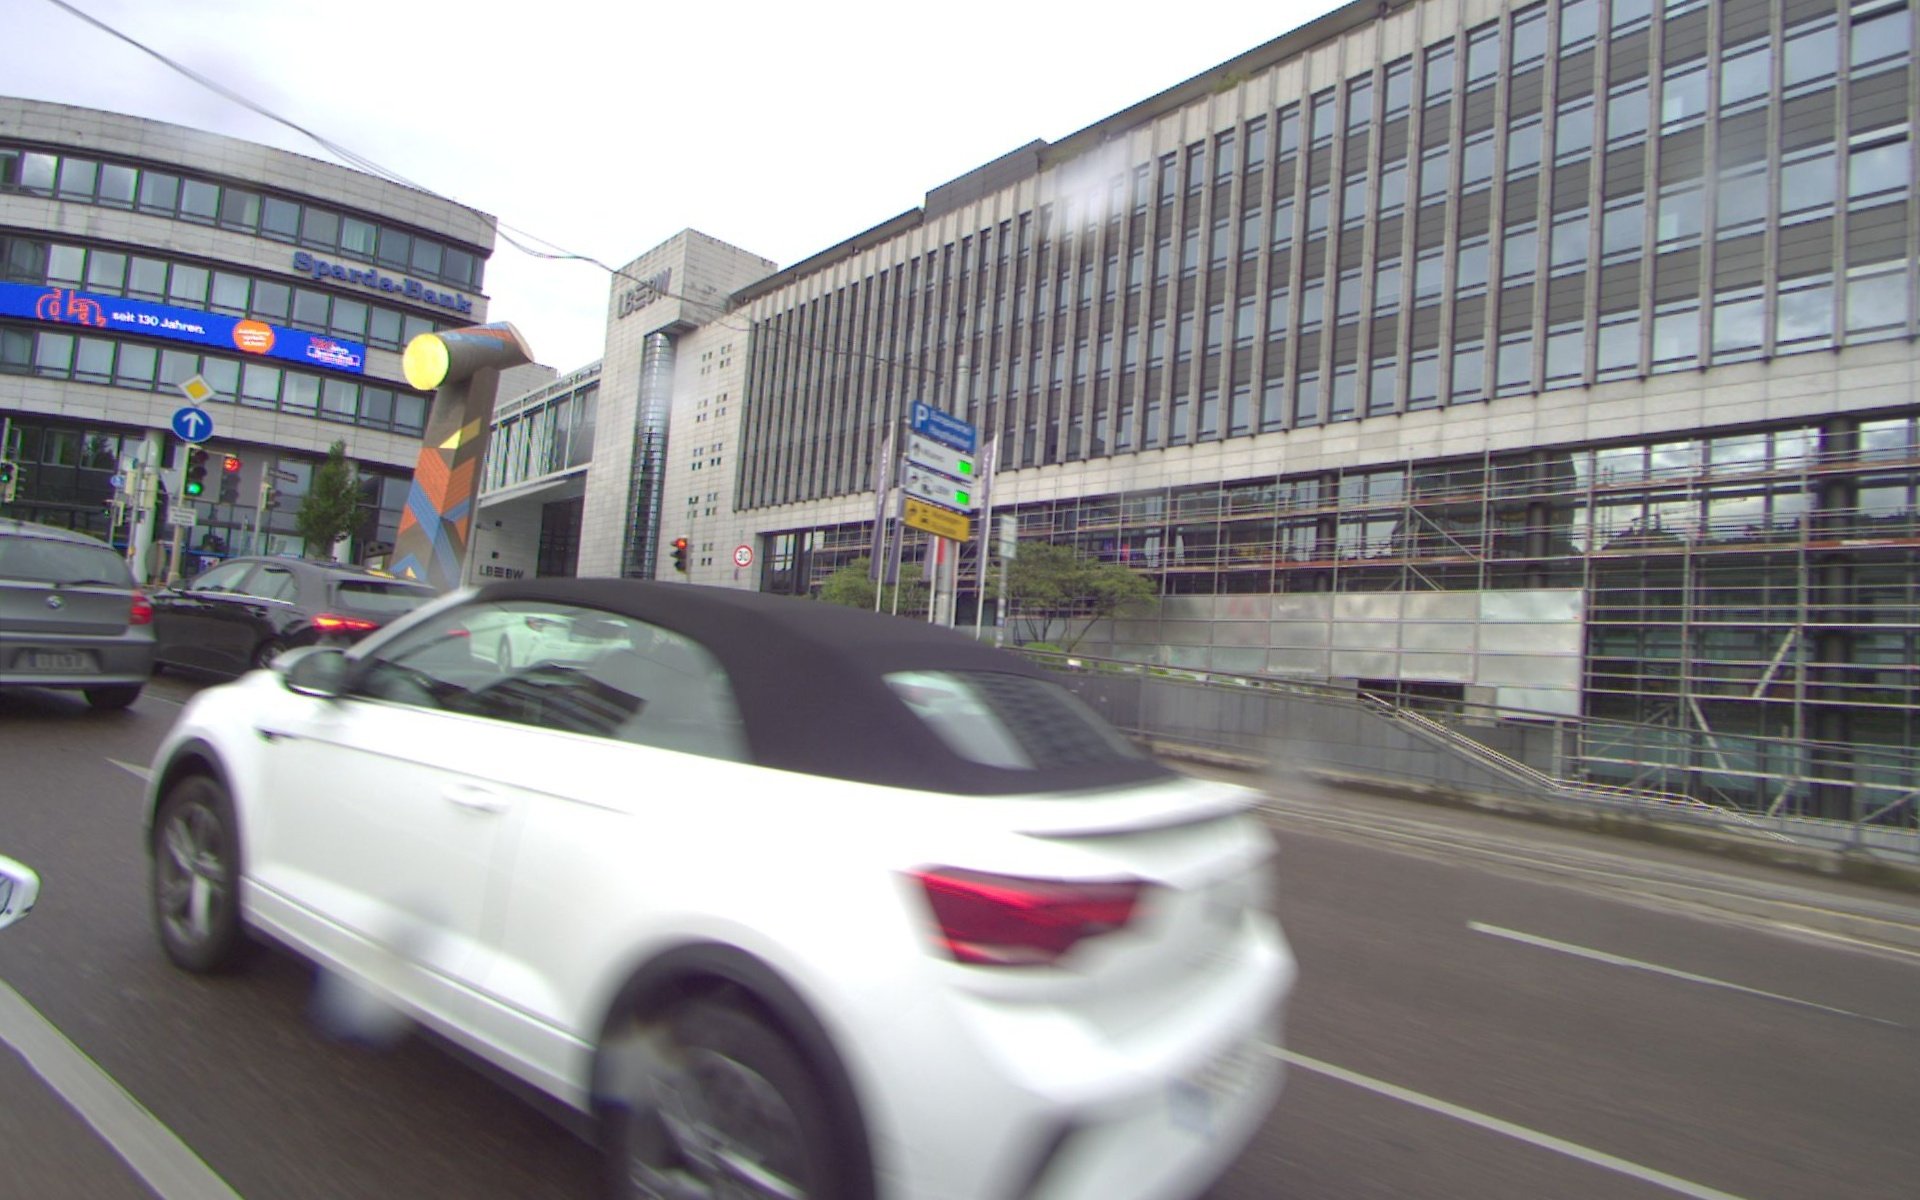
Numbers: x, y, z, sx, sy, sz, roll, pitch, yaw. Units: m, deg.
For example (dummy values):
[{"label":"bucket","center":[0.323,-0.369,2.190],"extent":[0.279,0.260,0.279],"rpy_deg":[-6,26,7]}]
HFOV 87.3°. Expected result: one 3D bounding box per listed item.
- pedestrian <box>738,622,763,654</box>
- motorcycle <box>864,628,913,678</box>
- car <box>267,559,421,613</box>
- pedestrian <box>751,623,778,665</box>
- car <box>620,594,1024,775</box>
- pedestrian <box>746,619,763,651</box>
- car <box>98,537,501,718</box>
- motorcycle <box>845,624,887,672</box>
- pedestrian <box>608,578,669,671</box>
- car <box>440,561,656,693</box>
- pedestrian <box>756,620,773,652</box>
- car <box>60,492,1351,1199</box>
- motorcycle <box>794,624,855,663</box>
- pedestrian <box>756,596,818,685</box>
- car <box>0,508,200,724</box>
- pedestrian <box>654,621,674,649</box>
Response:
[{"label":"pedestrian","center":[-12.745,2.308,61.198],"extent":[0.937,1.766,0.895],"rpy_deg":[9,-2,-36]},{"label":"motorcycle","center":[-2.055,1.555,29.208],"extent":[0.595,1.370,1.731],"rpy_deg":[7,-1,20]},{"label":"car","center":[-24.039,-0.511,39.428],"extent":[1.841,1.457,4.700],"rpy_deg":[3,-5,39]},{"label":"pedestrian","center":[-9.084,2.042,46.716],"extent":[0.958,1.838,0.777],"rpy_deg":[6,-3,-22]},{"label":"car","center":[-1.704,0.892,11.534],"extent":[4.545,1.467,1.703],"rpy_deg":[4,-4,36]},{"label":"pedestrian","center":[-11.824,2.005,57.987],"extent":[0.557,1.766,0.547],"rpy_deg":[9,-2,-36]},{"label":"car","center":[-6.952,0.248,10.507],"extent":[4.157,1.423,1.758],"rpy_deg":[5,-2,30]},{"label":"motorcycle","center":[-2.745,1.419,29.399],"extent":[0.608,1.285,1.245],"rpy_deg":[7,-1,20]},{"label":"pedestrian","center":[-7.902,0.615,24.780],"extent":[0.887,2.120,0.857],"rpy_deg":[7,-3,5]},{"label":"car","center":[-6.826,0.368,16.384],"extent":[1.765,1.653,4.530],"rpy_deg":[9,-3,-40]},{"label":"pedestrian","center":[-11.349,2.114,58.474],"extent":[0.557,1.766,0.547],"rpy_deg":[9,-2,-36]},{"label":"car","center":[-1.072,0.648,3.544],"extent":[4.150,1.566,1.968],"rpy_deg":[6,-3,33]},{"label":"motorcycle","center":[-4.140,1.336,31.028],"extent":[0.623,1.094,2.571],"rpy_deg":[7,0,20]},{"label":"pedestrian","center":[-3.554,0.839,20.730],"extent":[0.828,1.730,0.732],"rpy_deg":[4,-3,27]},{"label":"car","center":[-8.172,-0.043,7.922],"extent":[3.929,1.459,1.746],"rpy_deg":[6,-3,25]},{"label":"pedestrian","center":[-20.567,2.435,69.992],"extent":[1.065,1.741,0.656],"rpy_deg":[8,-1,-11]}]
